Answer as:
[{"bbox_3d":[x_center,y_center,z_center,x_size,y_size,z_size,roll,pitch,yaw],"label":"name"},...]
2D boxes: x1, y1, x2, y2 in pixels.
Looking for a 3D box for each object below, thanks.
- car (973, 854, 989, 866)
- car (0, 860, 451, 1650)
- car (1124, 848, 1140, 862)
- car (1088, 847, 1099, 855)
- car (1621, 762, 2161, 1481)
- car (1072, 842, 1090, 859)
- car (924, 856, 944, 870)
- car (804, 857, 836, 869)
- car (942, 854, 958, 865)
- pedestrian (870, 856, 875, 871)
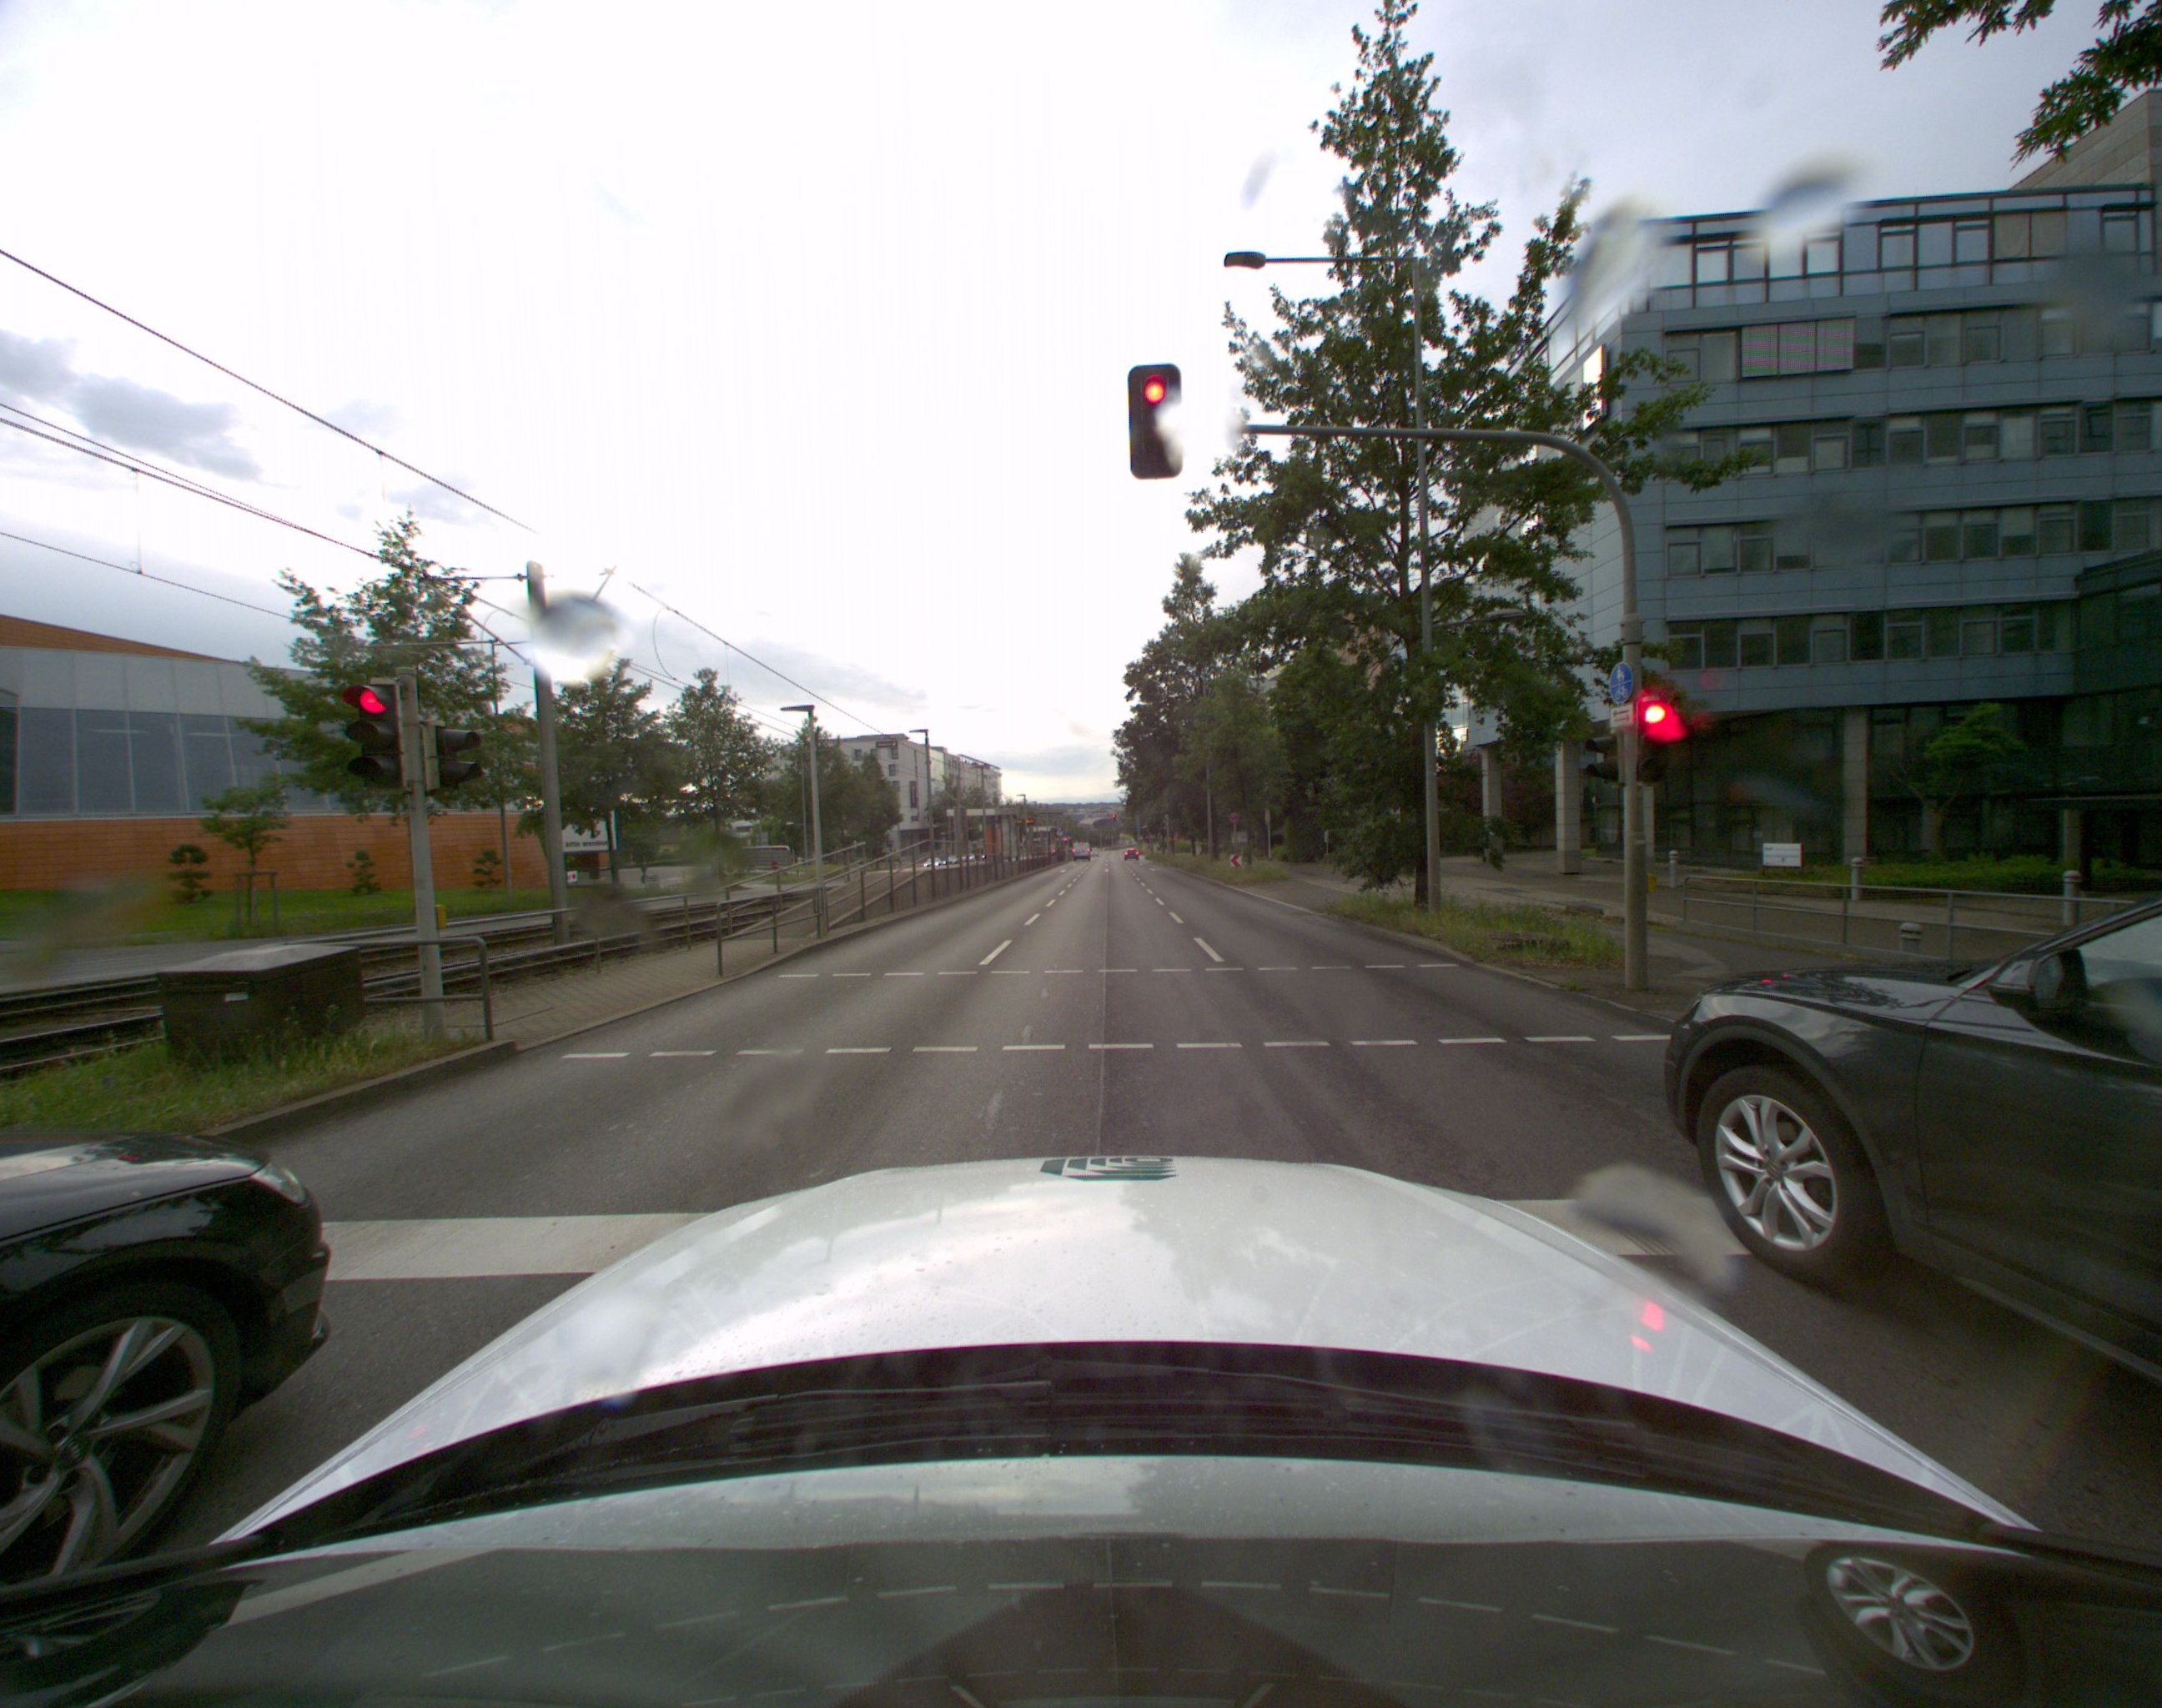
[{"bbox_3d":[-13.008,0.758,105.553,1.651,1.436,3.865,-4,0,-11],"label":"car"},{"bbox_3d":[-2.961,0.782,0.333,1.774,1.466,4.515,-1,0,2],"label":"car"},{"bbox_3d":[6.433,0.065,102.909,1.767,1.691,3.847,-1,0,2],"label":"car"},{"bbox_3d":[2.193,-0.587,142.082,1.776,1.390,4.001,-2,0,1],"label":"car"},{"bbox_3d":[3.303,0.584,1.440,1.811,1.612,4.472,-1,0,2],"label":"car"},{"bbox_3d":[-0.024,-0.454,102.633,2.085,2.053,4.608,-1,0,2],"label":"car"},{"bbox_3d":[-17.933,1.085,99.340,1.645,1.436,3.879,-4,0,-1],"label":"car"},{"bbox_3d":[-30.980,1.098,96.802,3.341,1.387,1.440,-1,0,18],"label":"car"},{"bbox_3d":[-17.385,0.695,108.406,1.562,1.378,3.518,-2,0,0],"label":"car"},{"bbox_3d":[-28.296,1.302,110.584,0.473,1.920,0.490,-1,0,1],"label":"pedestrian"}]
